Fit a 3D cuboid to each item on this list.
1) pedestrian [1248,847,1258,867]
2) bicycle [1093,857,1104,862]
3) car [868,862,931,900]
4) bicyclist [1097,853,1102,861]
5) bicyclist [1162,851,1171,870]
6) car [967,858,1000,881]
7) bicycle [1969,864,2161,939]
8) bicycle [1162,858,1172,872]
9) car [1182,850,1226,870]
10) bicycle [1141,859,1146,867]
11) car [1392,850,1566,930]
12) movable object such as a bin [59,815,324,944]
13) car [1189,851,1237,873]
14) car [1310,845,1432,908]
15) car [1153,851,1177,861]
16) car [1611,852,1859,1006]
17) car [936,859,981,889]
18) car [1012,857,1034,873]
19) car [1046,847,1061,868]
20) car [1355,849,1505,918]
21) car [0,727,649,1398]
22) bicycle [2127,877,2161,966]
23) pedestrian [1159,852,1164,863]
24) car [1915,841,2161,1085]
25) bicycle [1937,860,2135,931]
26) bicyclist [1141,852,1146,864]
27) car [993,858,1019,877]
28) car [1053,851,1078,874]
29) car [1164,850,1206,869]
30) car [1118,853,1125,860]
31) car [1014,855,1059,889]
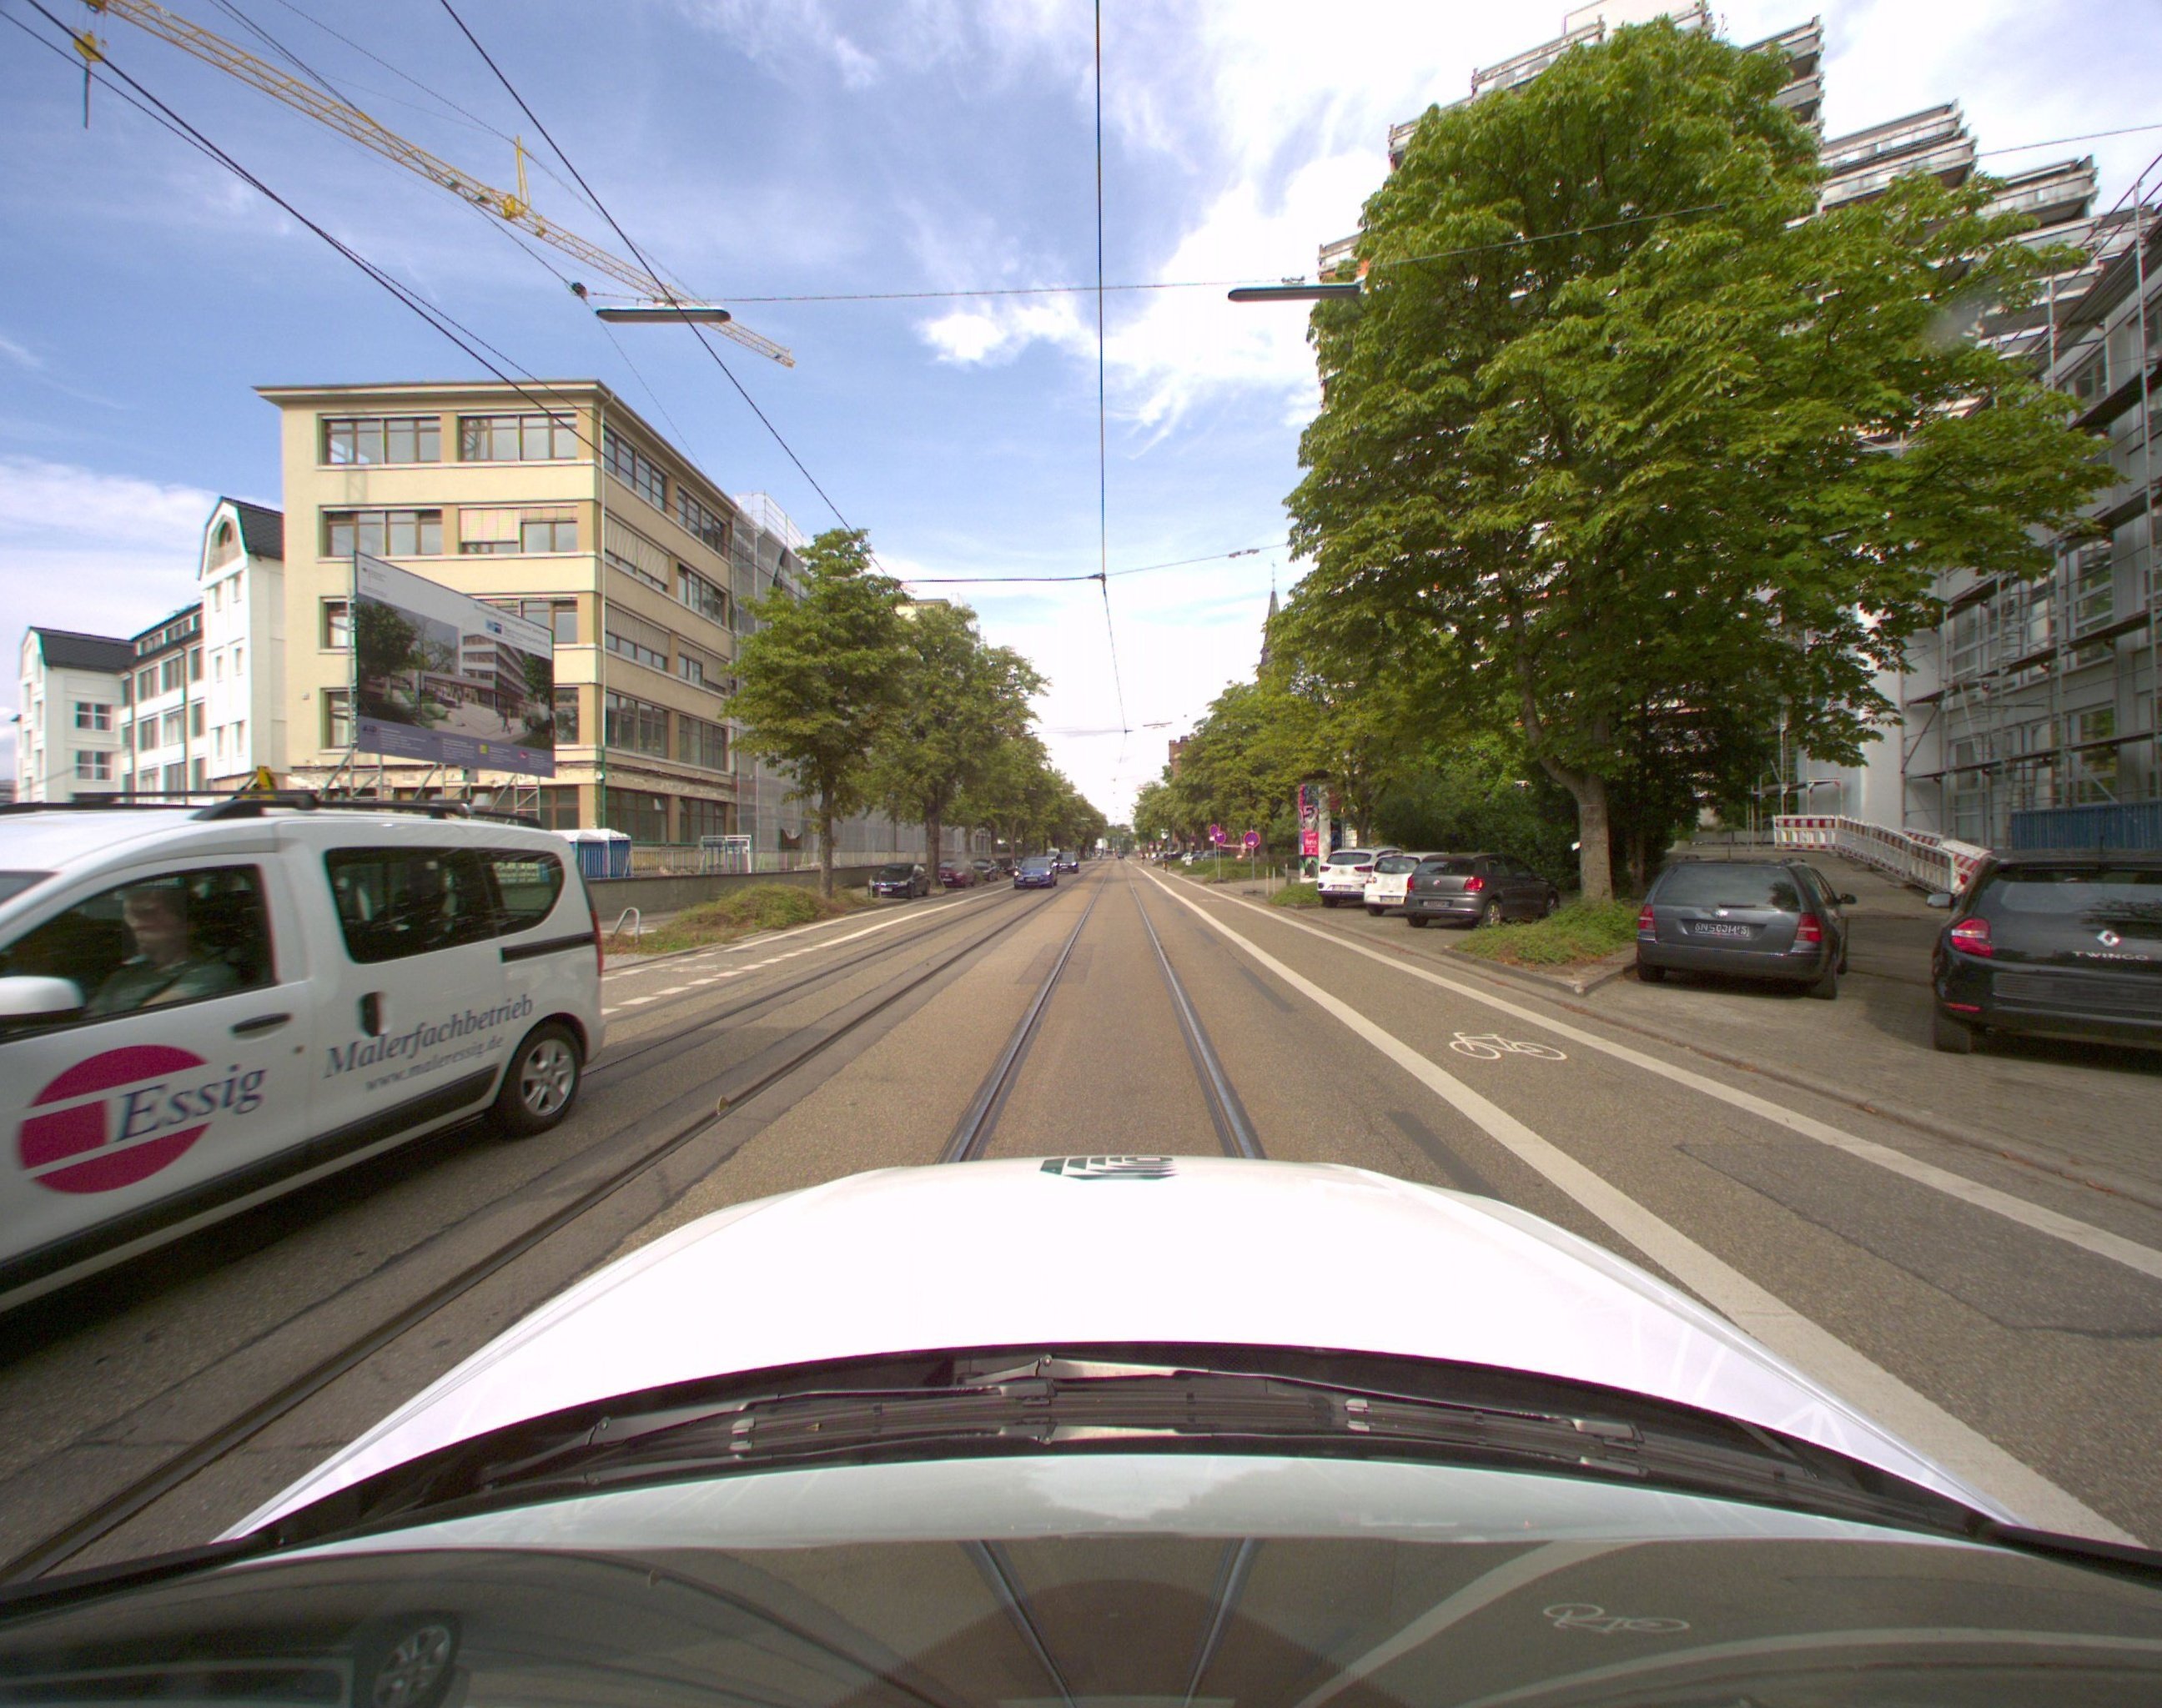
[{"bbox_3d":[15.772,0.313,74.858,0.779,1.826,0.665,-1,0,22],"label":"pedestrian"},{"bbox_3d":[3.615,1.132,169.719,2.260,1.189,0.771,-1,0,10],"label":"bicycle"},{"bbox_3d":[-7.167,1.026,32.550,1.585,1.402,3.962,0,0,0],"label":"car"},{"bbox_3d":[3.815,0.612,169.685,0.841,1.504,0.771,-1,0,10],"label":"bicyclist"},{"bbox_3d":[6.730,0.514,63.829,0.591,1.459,0.875,-1,0,0],"label":"bicyclist"},{"bbox_3d":[-6.227,0.963,52.402,1.585,1.402,3.962,0,0,0],"label":"car"},{"bbox_3d":[14.750,0.679,12.142,1.952,1.043,0.598,-1,0,30],"label":"bicycle"},{"bbox_3d":[6.729,0.864,63.826,0.591,1.043,1.978,-1,0,0],"label":"bicycle"},{"bbox_3d":[10.329,0.473,68.292,3.667,1.602,1.661,0,-1,-43],"label":"car"},{"bbox_3d":[8.313,1.171,108.608,0.661,1.043,1.842,-1,0,3],"label":"bicycle"},{"bbox_3d":[8.025,0.646,16.323,3.663,1.419,1.663,0,-1,-37],"label":"car"},{"bbox_3d":[-18.351,0.502,16.948,3.030,2.443,2.506,-1,-1,12],"label":"movable object such as a bin"},{"bbox_3d":[10.009,0.605,61.495,3.667,1.602,1.661,0,-1,-43],"label":"car"},{"bbox_3d":[8.053,0.568,22.471,3.667,1.602,1.661,0,-1,-43],"label":"car"},{"bbox_3d":[14.890,0.410,144.604,3.978,1.693,1.998,-1,0,-3],"label":"car"},{"bbox_3d":[7.882,0.708,9.659,4.194,1.415,1.794,0,-1,-45],"label":"car"},{"bbox_3d":[-6.445,1.009,43.200,1.629,1.496,3.964,0,0,2],"label":"car"},{"bbox_3d":[-5.161,0.937,73.002,1.585,1.402,3.962,0,0,0],"label":"car"},{"bbox_3d":[-3.618,0.437,106.760,1.715,2.704,5.470,0,0,0],"label":"car"},{"bbox_3d":[8.296,0.630,19.246,3.663,1.474,1.663,0,-1,-37],"label":"car"},{"bbox_3d":[-3.863,0.590,3.315,1.725,1.884,4.380,-1,0,2],"label":"car"},{"bbox_3d":[13.614,0.782,9.404,1.817,1.043,0.456,-2,-1,31],"label":"bicycle"},{"bbox_3d":[14.286,0.623,144.302,0.741,1.790,0.734,-1,-1,17],"label":"pedestrian"},{"bbox_3d":[7.886,0.672,6.471,3.436,1.537,1.577,-1,0,-41],"label":"car"},{"bbox_3d":[15.115,0.627,12.977,1.952,1.043,0.598,0,0,39],"label":"bicycle"},{"bbox_3d":[8.312,0.538,108.615,0.656,1.496,0.930,-1,0,3],"label":"bicyclist"},{"bbox_3d":[-5.768,1.005,62.710,1.585,1.402,3.962,0,0,0],"label":"car"},{"bbox_3d":[-1.188,0.636,64.067,1.725,1.628,4.380,-2,0,2],"label":"car"},{"bbox_3d":[9.019,0.481,70.473,3.667,1.602,1.661,0,-1,-43],"label":"car"},{"bbox_3d":[11.400,0.712,228.901,1.788,1.824,4.680,0,0,2],"label":"car"},{"bbox_3d":[-2.067,0.810,39.035,1.725,1.496,4.381,-1,0,2],"label":"car"}]
